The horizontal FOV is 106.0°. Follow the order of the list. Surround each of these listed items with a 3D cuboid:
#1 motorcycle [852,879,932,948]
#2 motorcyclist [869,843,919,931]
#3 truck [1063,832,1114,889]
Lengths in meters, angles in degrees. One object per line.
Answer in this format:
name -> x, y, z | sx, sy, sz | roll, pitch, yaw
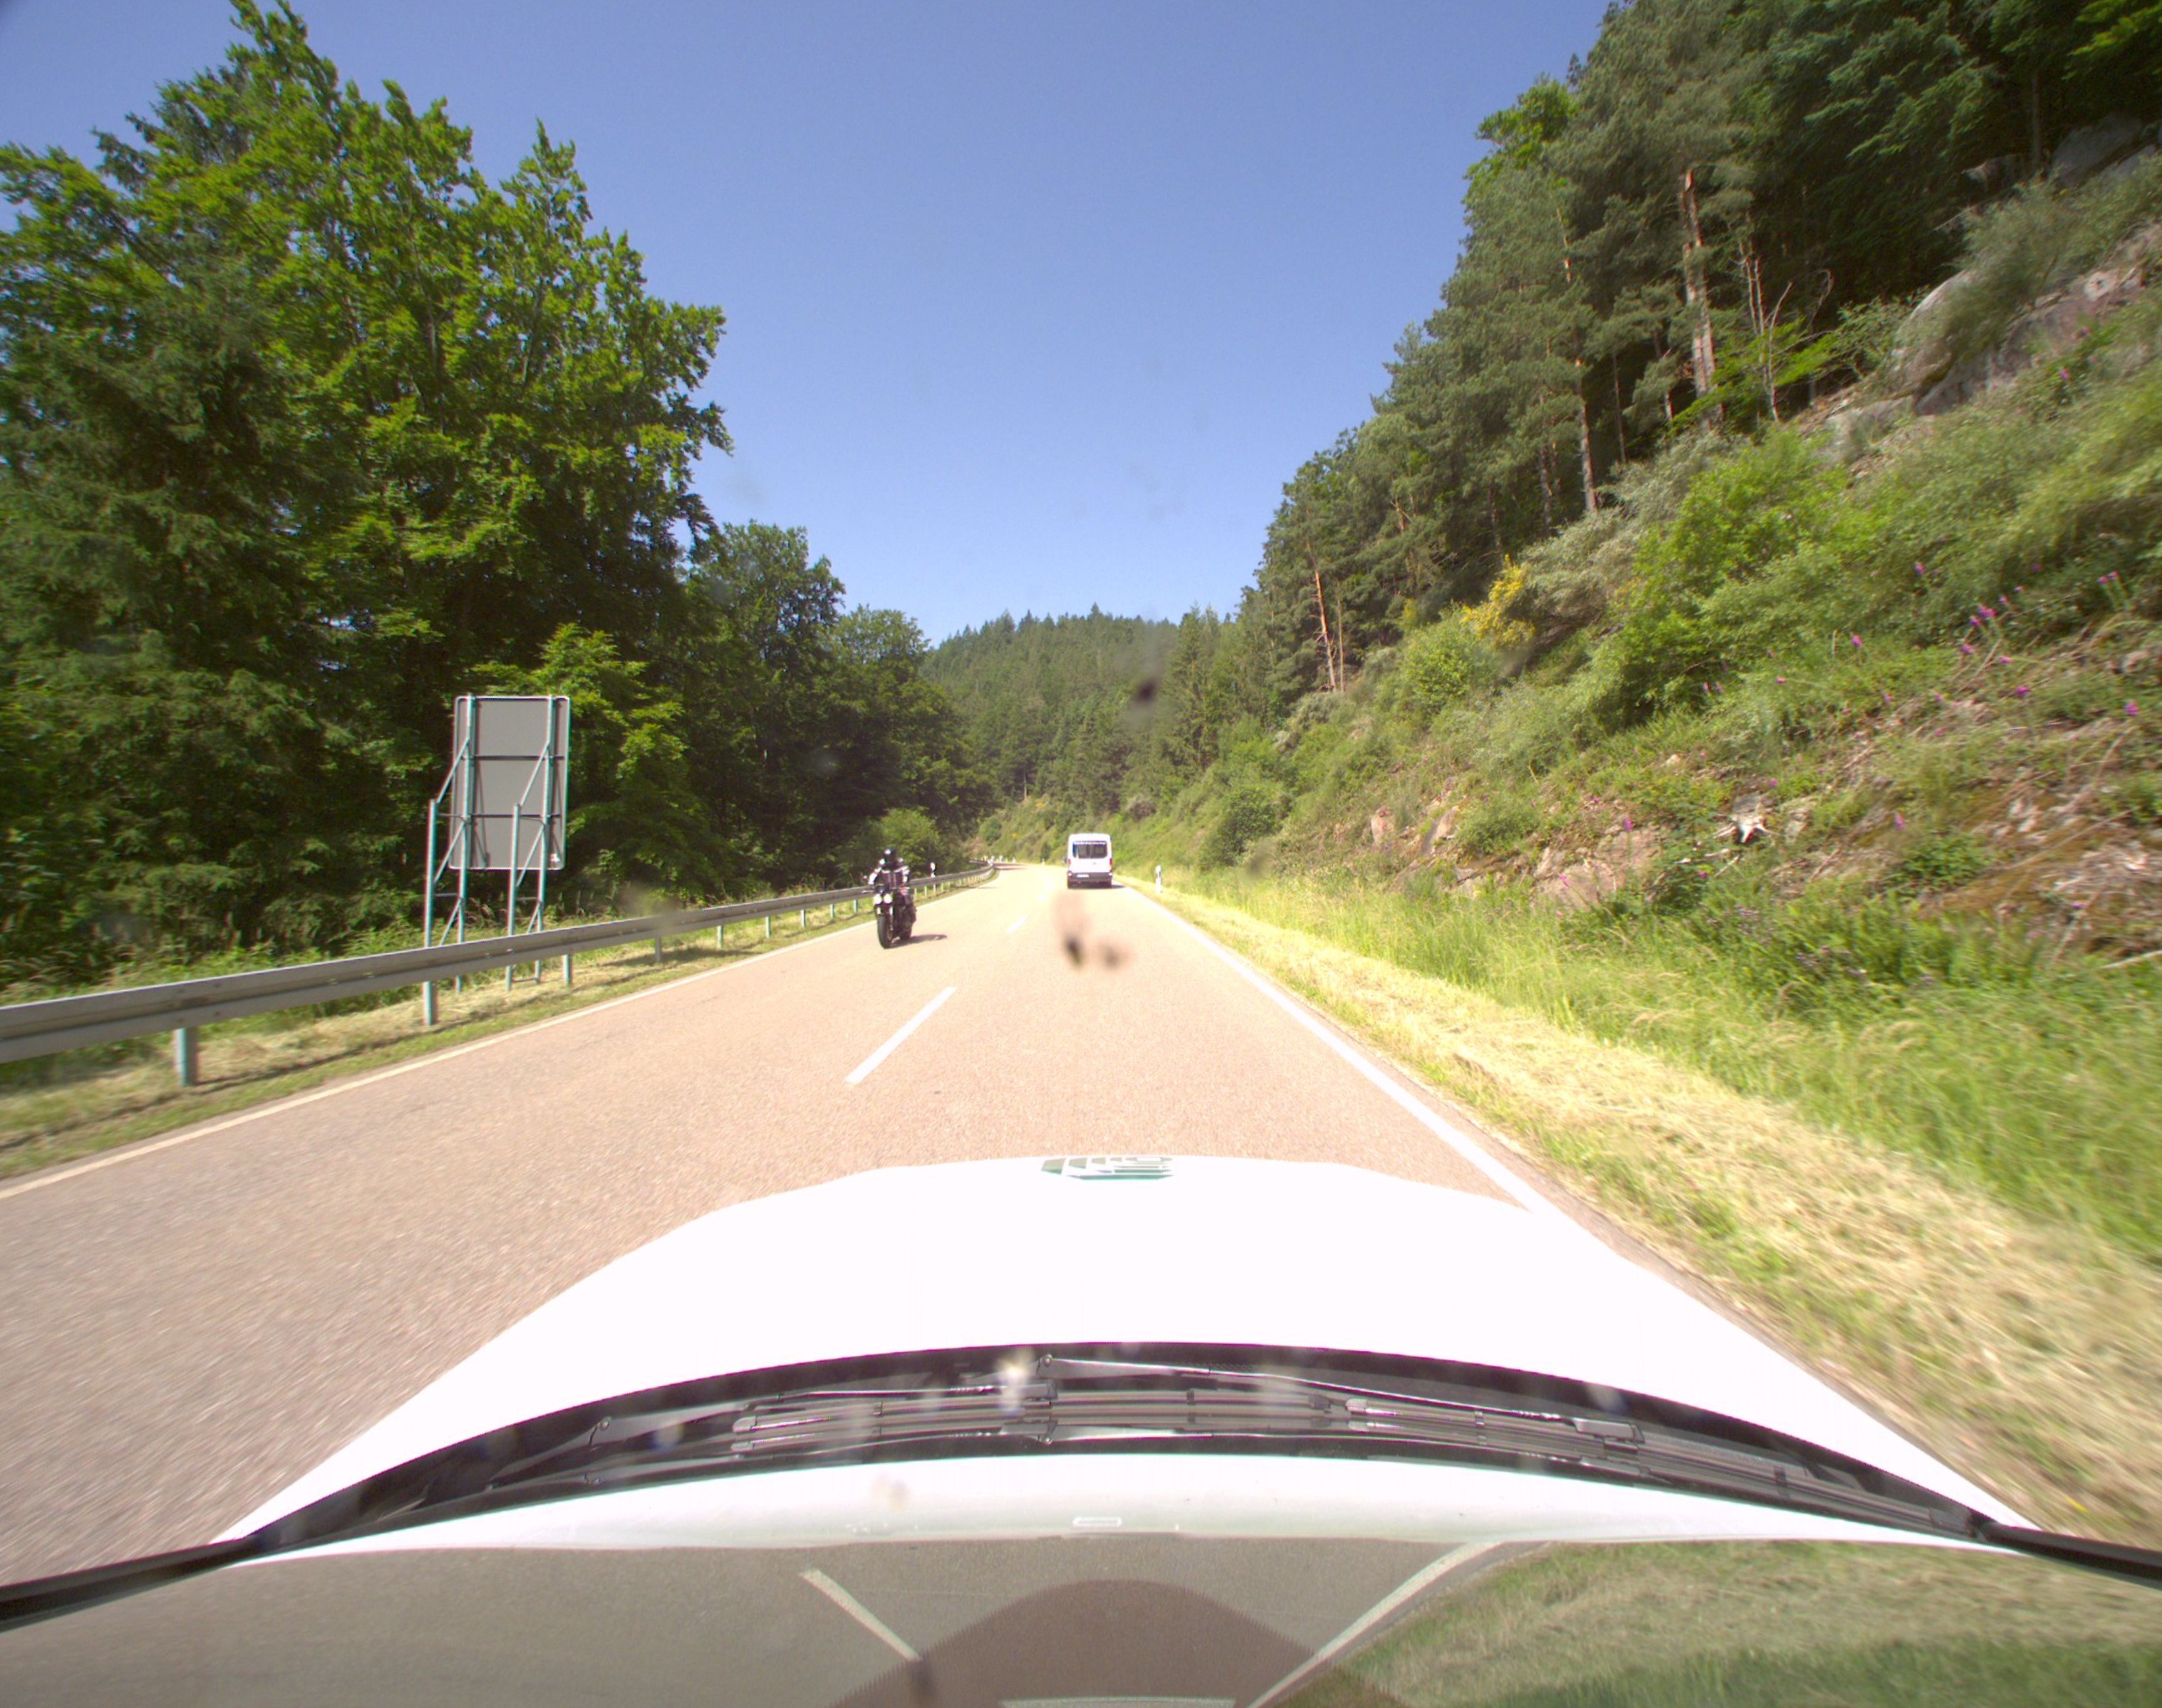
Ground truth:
motorcycle -> -3.328, 1.018, 14.567 | 0.981, 1.071, 1.962 | -1, 0, -1
motorcyclist -> -3.341, 0.564, 14.608 | 0.656, 1.513, 0.934 | -1, 0, 0
truck -> 0.283, 0.280, 38.290 | 2.079, 2.459, 4.869 | -1, 0, -3
